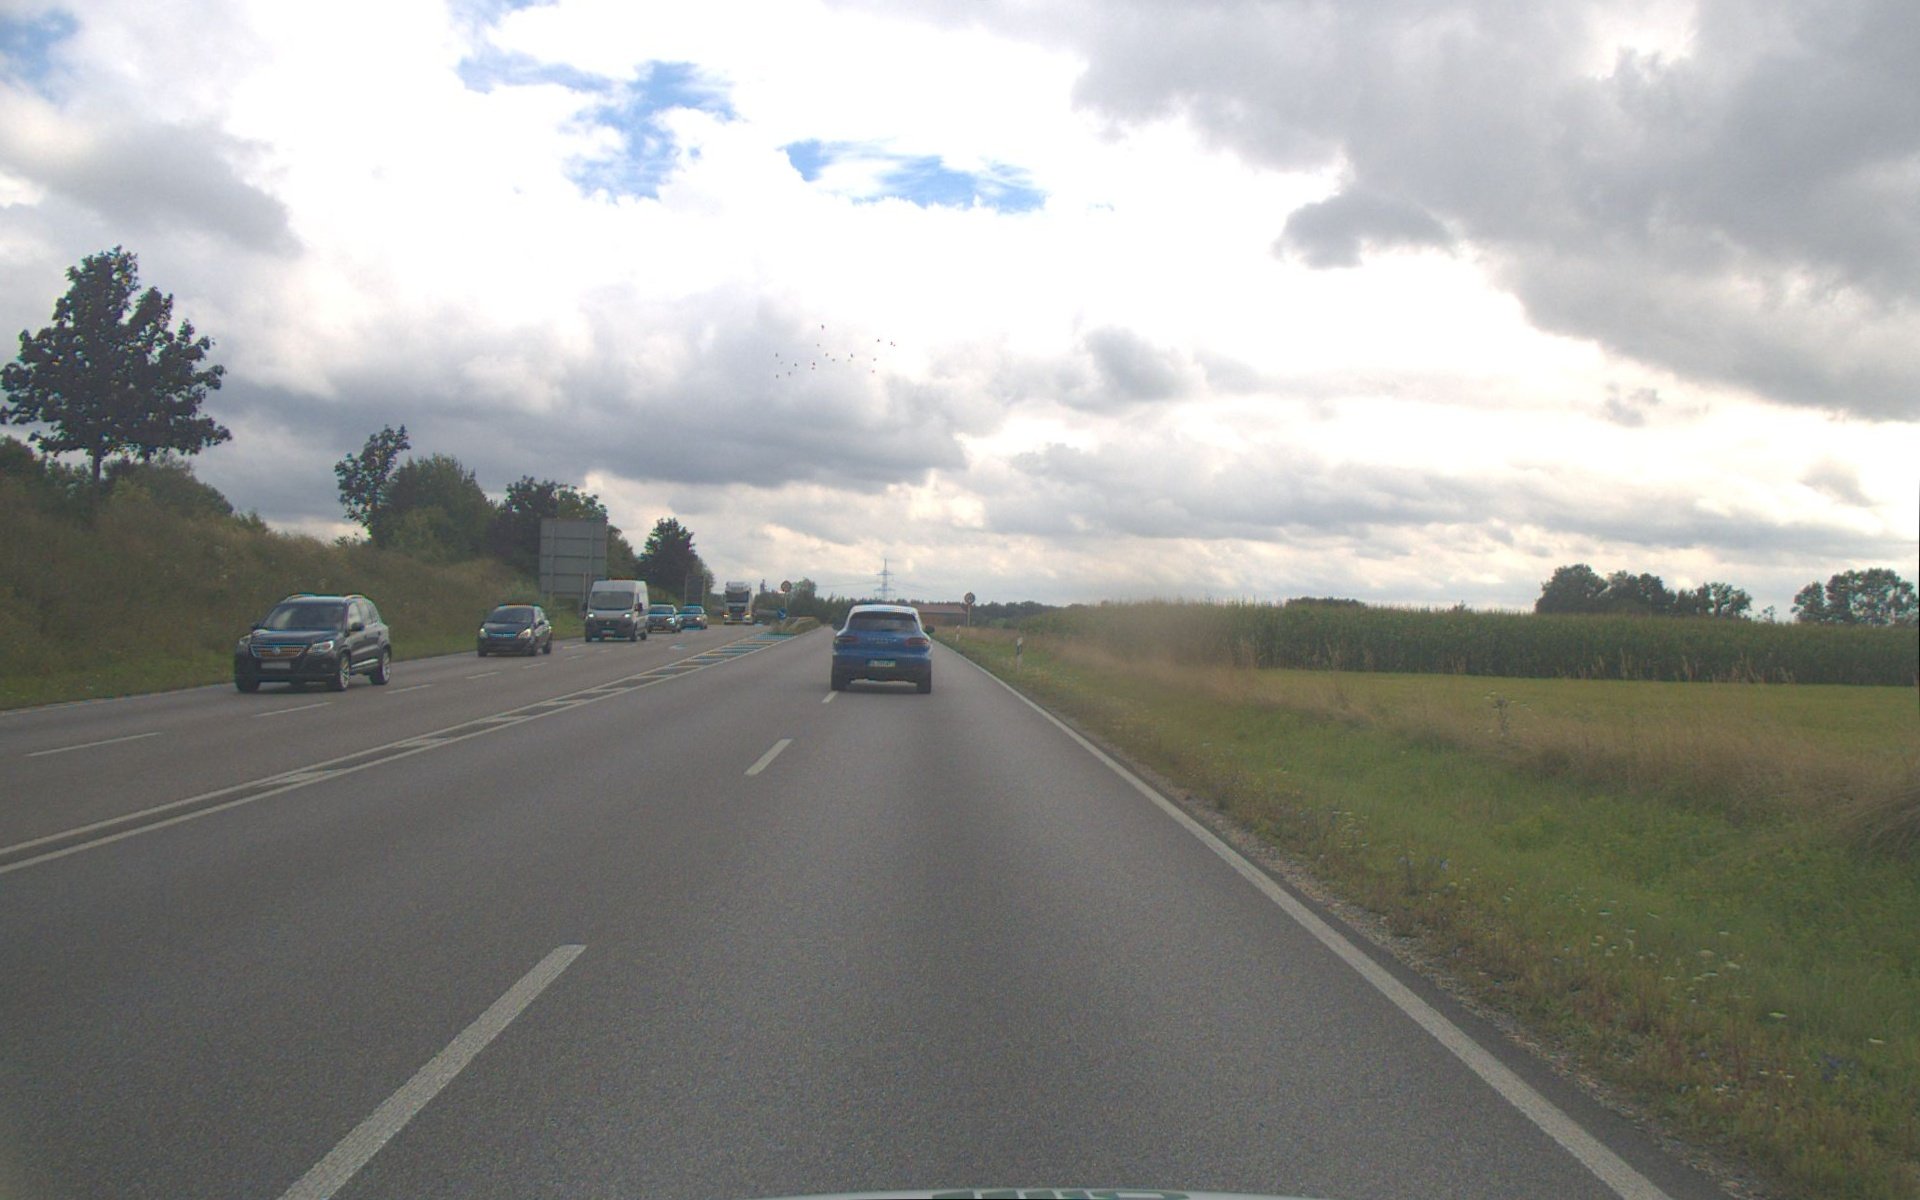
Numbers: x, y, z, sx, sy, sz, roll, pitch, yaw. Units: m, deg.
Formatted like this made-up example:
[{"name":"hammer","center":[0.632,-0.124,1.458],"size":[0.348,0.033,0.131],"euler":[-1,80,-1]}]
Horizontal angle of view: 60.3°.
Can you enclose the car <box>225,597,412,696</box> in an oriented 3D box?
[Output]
[{"name":"car","center":[-11.599,0.785,30.230],"size":[1.758,1.663,4.514],"euler":[0,0,-2]}]

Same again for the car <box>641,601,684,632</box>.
[{"name":"car","center":[-15.655,0.832,87.216],"size":[1.698,1.557,4.545],"euler":[1,0,-4]}]

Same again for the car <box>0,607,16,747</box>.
[{"name":"car","center":[-11.335,0.835,16.020],"size":[1.758,1.538,4.704],"euler":[1,0,-2]}]

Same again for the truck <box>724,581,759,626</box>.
[{"name":"truck","center":[-20.477,0.331,155.212],"size":[2.747,4.067,5.282],"euler":[2,0,-4]}]

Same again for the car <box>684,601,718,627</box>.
[{"name":"car","center":[-16.276,0.852,104.099],"size":[1.698,1.557,4.190],"euler":[1,0,-4]}]

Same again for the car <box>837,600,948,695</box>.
[{"name":"car","center":[-1.378,0.879,32.307],"size":[1.993,1.689,4.539],"euler":[1,-1,-4]}]

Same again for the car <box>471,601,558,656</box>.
[{"name":"car","center":[-13.306,0.826,49.612],"size":[1.698,1.557,4.190],"euler":[1,0,-4]}]

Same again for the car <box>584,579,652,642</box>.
[{"name":"car","center":[-14.052,0.392,68.330],"size":[1.993,2.482,5.631],"euler":[0,0,-4]}]

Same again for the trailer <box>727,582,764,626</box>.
[{"name":"trailer","center":[-21.060,0.337,163.008],"size":[2.720,4.016,12.974],"euler":[2,0,-4]}]
